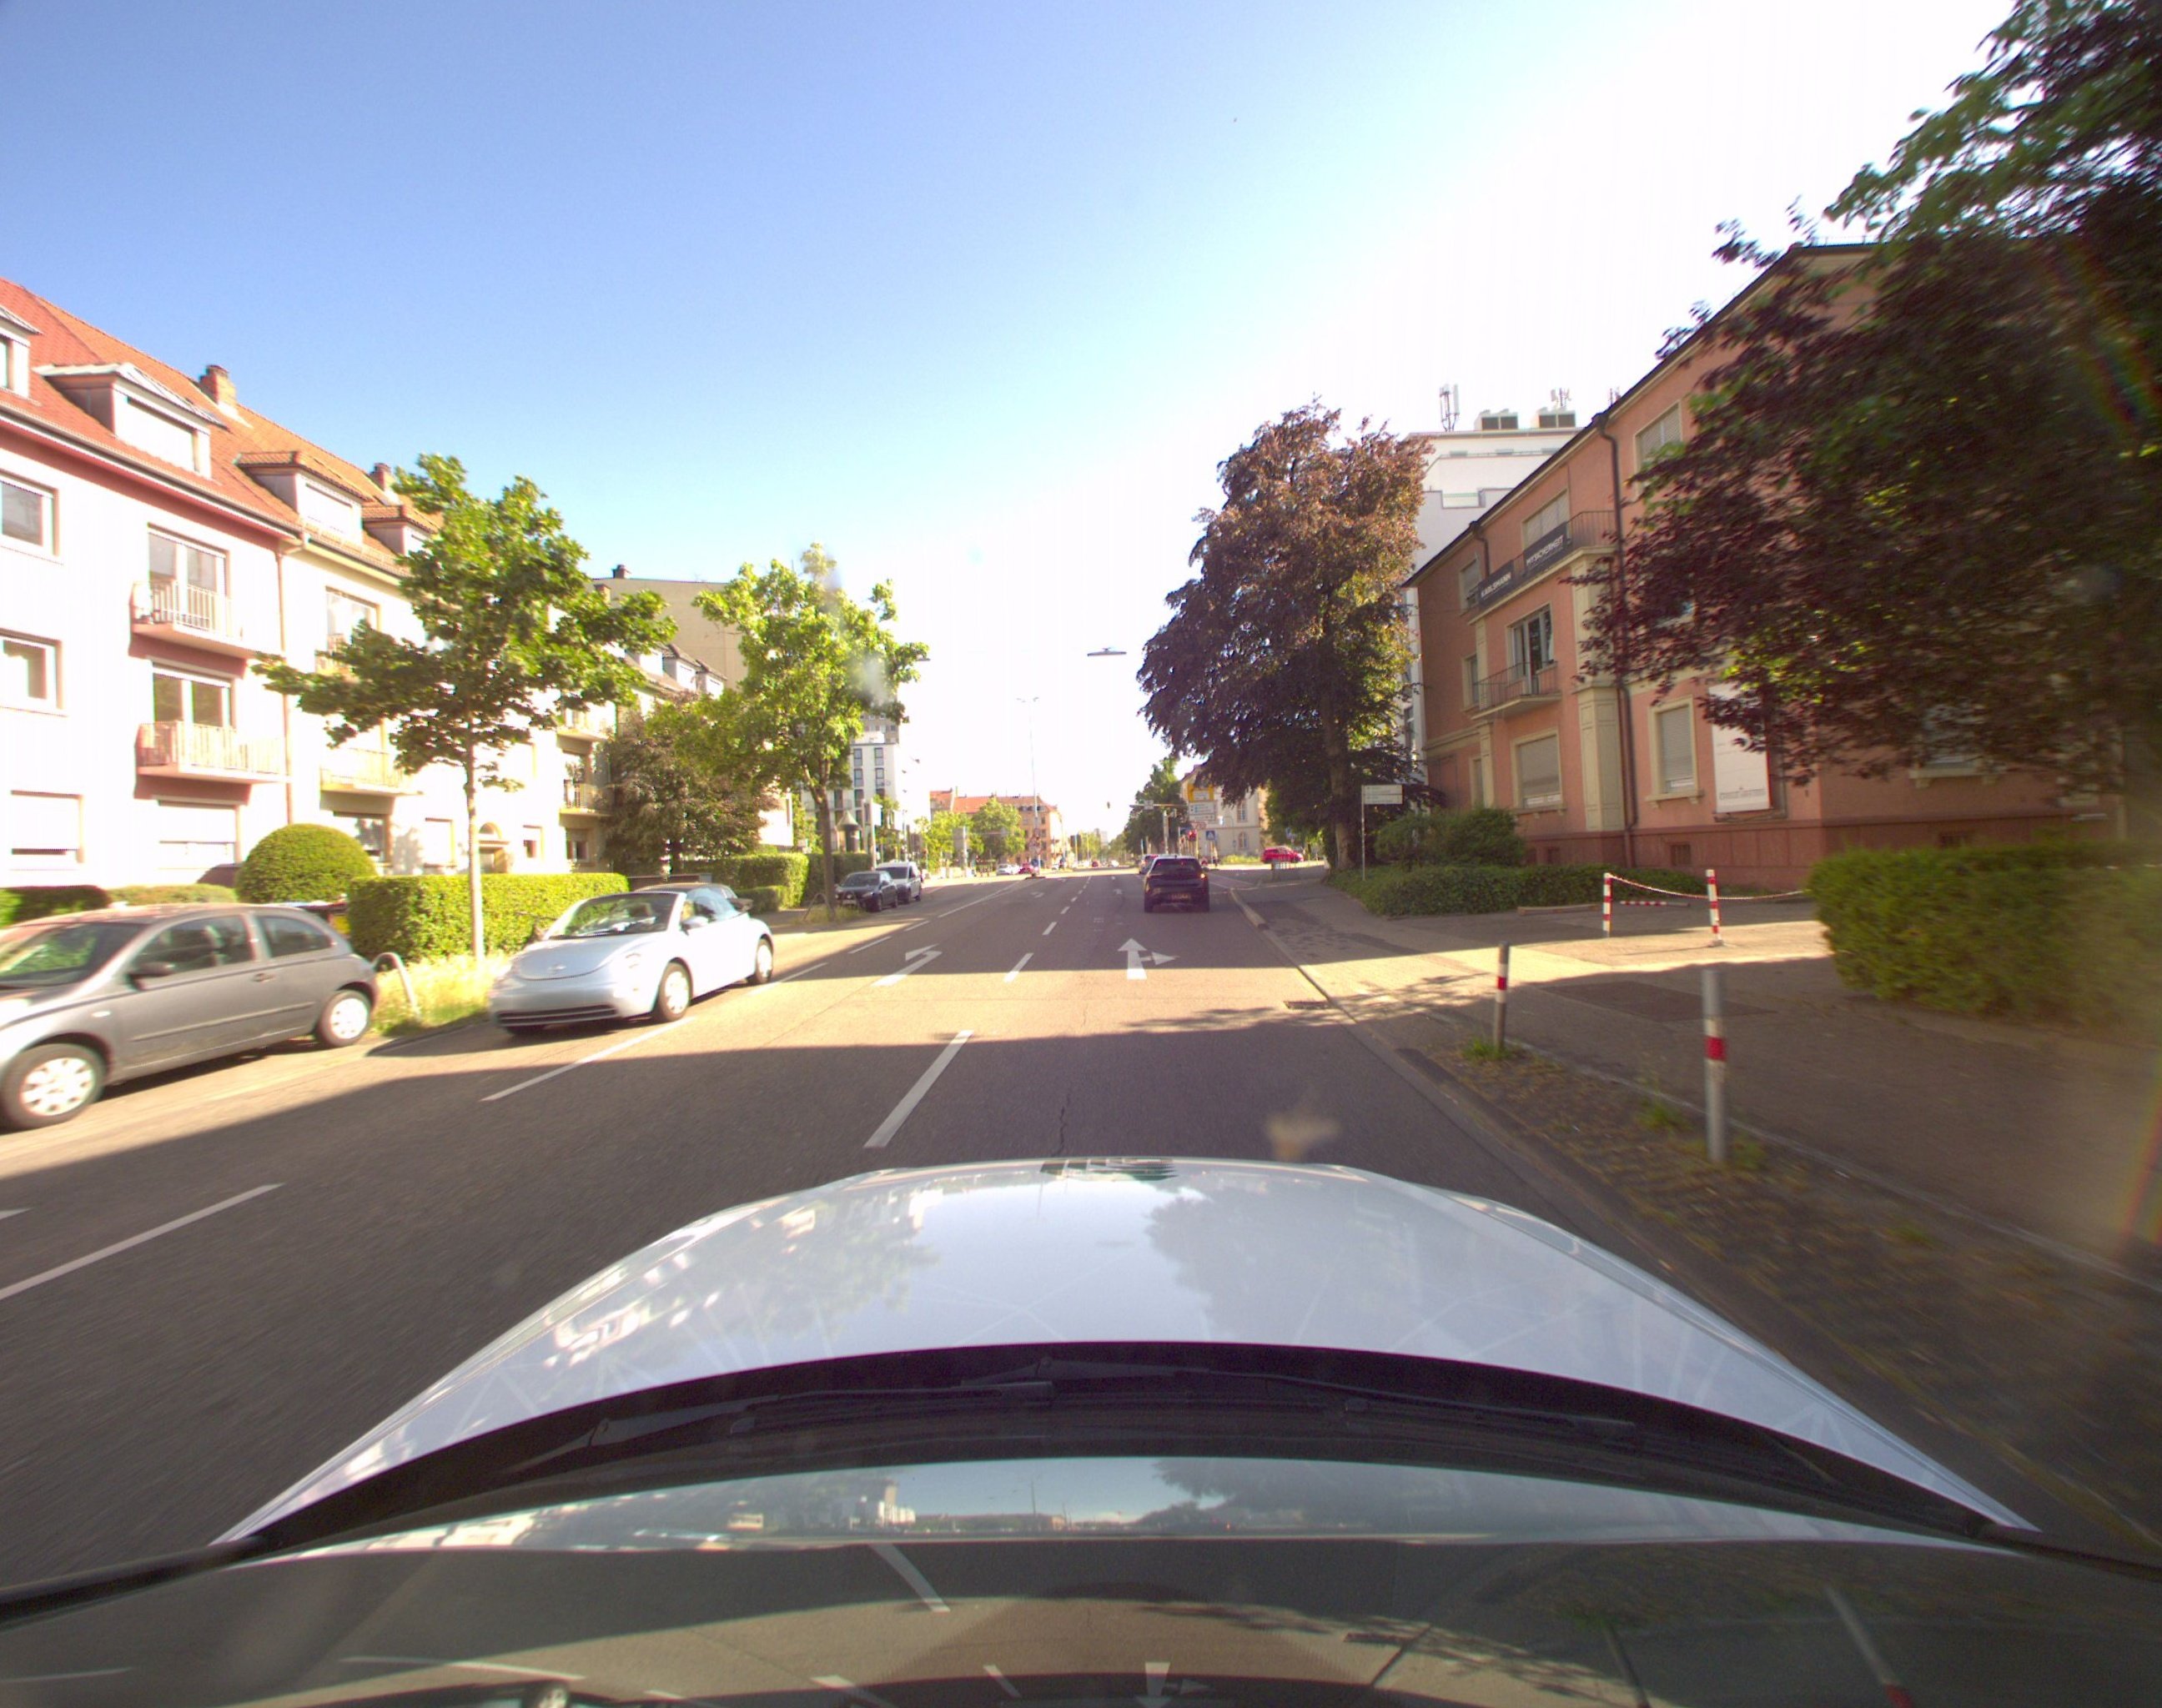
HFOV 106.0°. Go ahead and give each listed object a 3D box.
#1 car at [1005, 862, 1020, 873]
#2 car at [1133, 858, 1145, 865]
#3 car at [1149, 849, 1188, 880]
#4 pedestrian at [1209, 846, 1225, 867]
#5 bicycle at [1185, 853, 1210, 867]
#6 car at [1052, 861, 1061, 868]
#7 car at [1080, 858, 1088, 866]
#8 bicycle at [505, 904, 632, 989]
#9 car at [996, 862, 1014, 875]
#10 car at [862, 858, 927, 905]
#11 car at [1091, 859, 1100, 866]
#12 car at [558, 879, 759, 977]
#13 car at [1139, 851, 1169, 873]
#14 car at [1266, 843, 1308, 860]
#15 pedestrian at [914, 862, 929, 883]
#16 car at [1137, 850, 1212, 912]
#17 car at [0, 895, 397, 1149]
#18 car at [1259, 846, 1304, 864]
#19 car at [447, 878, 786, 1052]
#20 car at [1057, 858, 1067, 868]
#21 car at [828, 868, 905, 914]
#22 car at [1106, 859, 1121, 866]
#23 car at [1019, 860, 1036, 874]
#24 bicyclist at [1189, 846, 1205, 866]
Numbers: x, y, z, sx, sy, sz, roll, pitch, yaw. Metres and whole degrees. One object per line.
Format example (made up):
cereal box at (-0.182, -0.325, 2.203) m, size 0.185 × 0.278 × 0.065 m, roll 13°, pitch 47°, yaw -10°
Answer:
car at (-10.068, 1.978, 120.107) m, size 1.868 × 1.448 × 4.000 m, roll -3°, pitch 0°, yaw 0°
car at (15.430, 2.032, 215.689) m, size 1.844 × 1.660 × 4.022 m, roll -1°, pitch -1°, yaw 23°
car at (4.976, 0.565, 46.892) m, size 1.824 × 1.578 × 3.840 m, roll -3°, pitch 0°, yaw 1°
pedestrian at (11.353, 0.198, 68.007) m, size 1.039 × 1.659 × 0.783 m, roll -4°, pitch 0°, yaw -4°
bicycle at (9.969, 0.517, 69.529) m, size 2.035 × 1.061 × 0.619 m, roll -2°, pitch 0°, yaw -15°
car at (-5.580, 2.475, 187.078) m, size 1.868 × 1.448 × 4.000 m, roll -3°, pitch 0°, yaw 0°
car at (0.747, 1.952, 197.905) m, size 1.804 × 1.634 × 4.000 m, roll -3°, pitch 0°, yaw 0°
bicycle at (-7.921, 1.417, 12.621) m, size 1.539 × 1.134 × 0.548 m, roll -4°, pitch 0°, yaw -2°
car at (-9.893, 1.867, 106.493) m, size 1.868 × 1.617 × 4.000 m, roll -3°, pitch 0°, yaw 0°
car at (-8.074, 1.141, 35.635) m, size 1.814 × 1.834 × 4.559 m, roll -3°, pitch 0°, yaw -2°
car at (3.387, 1.885, 184.151) m, size 1.803 × 1.407 × 4.003 m, roll -3°, pitch 0°, yaw 3°
car at (-7.949, 1.315, 15.864) m, size 1.764 × 1.408 × 4.361 m, roll -3°, pitch 0°, yaw -3°
car at (5.335, 0.588, 60.038) m, size 1.824 × 1.452 × 3.988 m, roll -3°, pitch 0°, yaw 1°
car at (22.651, -0.263, 89.563) m, size 4.109 × 1.601 × 1.818 m, roll -3°, pitch 0°, yaw -6°
pedestrian at (-12.981, 1.535, 66.233) m, size 0.837 × 1.649 × 0.668 m, roll -3°, pitch 0°, yaw -43°
car at (2.570, 0.714, 23.141) m, size 1.739 × 1.573 × 3.558 m, roll -2°, pitch 0°, yaw 1°
car at (-8.186, 1.229, 6.967) m, size 1.671 × 1.525 × 3.654 m, roll -1°, pitch 0°, yaw -3°
car at (18.983, 0.110, 77.089) m, size 3.855 × 1.452 × 1.779 m, roll -3°, pitch 0°, yaw 4°
car at (-5.148, 1.120, 9.756) m, size 1.732 × 1.381 × 3.935 m, roll -5°, pitch 0°, yaw -1°
car at (-4.156, 1.926, 179.578) m, size 1.804 × 2.134 × 4.000 m, roll -3°, pitch 0°, yaw 0°
car at (-7.904, 1.332, 30.386) m, size 1.665 × 1.456 × 4.112 m, roll -3°, pitch 0°, yaw 1°
car at (7.896, 2.059, 197.907) m, size 2.156 × 1.698 × 4.023 m, roll -3°, pitch 0°, yaw 24°
car at (-6.851, 1.658, 104.728) m, size 1.785 × 1.617 × 4.001 m, roll -3°, pitch 0°, yaw 1°
bicyclist at (9.898, 0.168, 69.503) m, size 1.167 × 1.633 × 0.725 m, roll -2°, pitch 0°, yaw -15°
